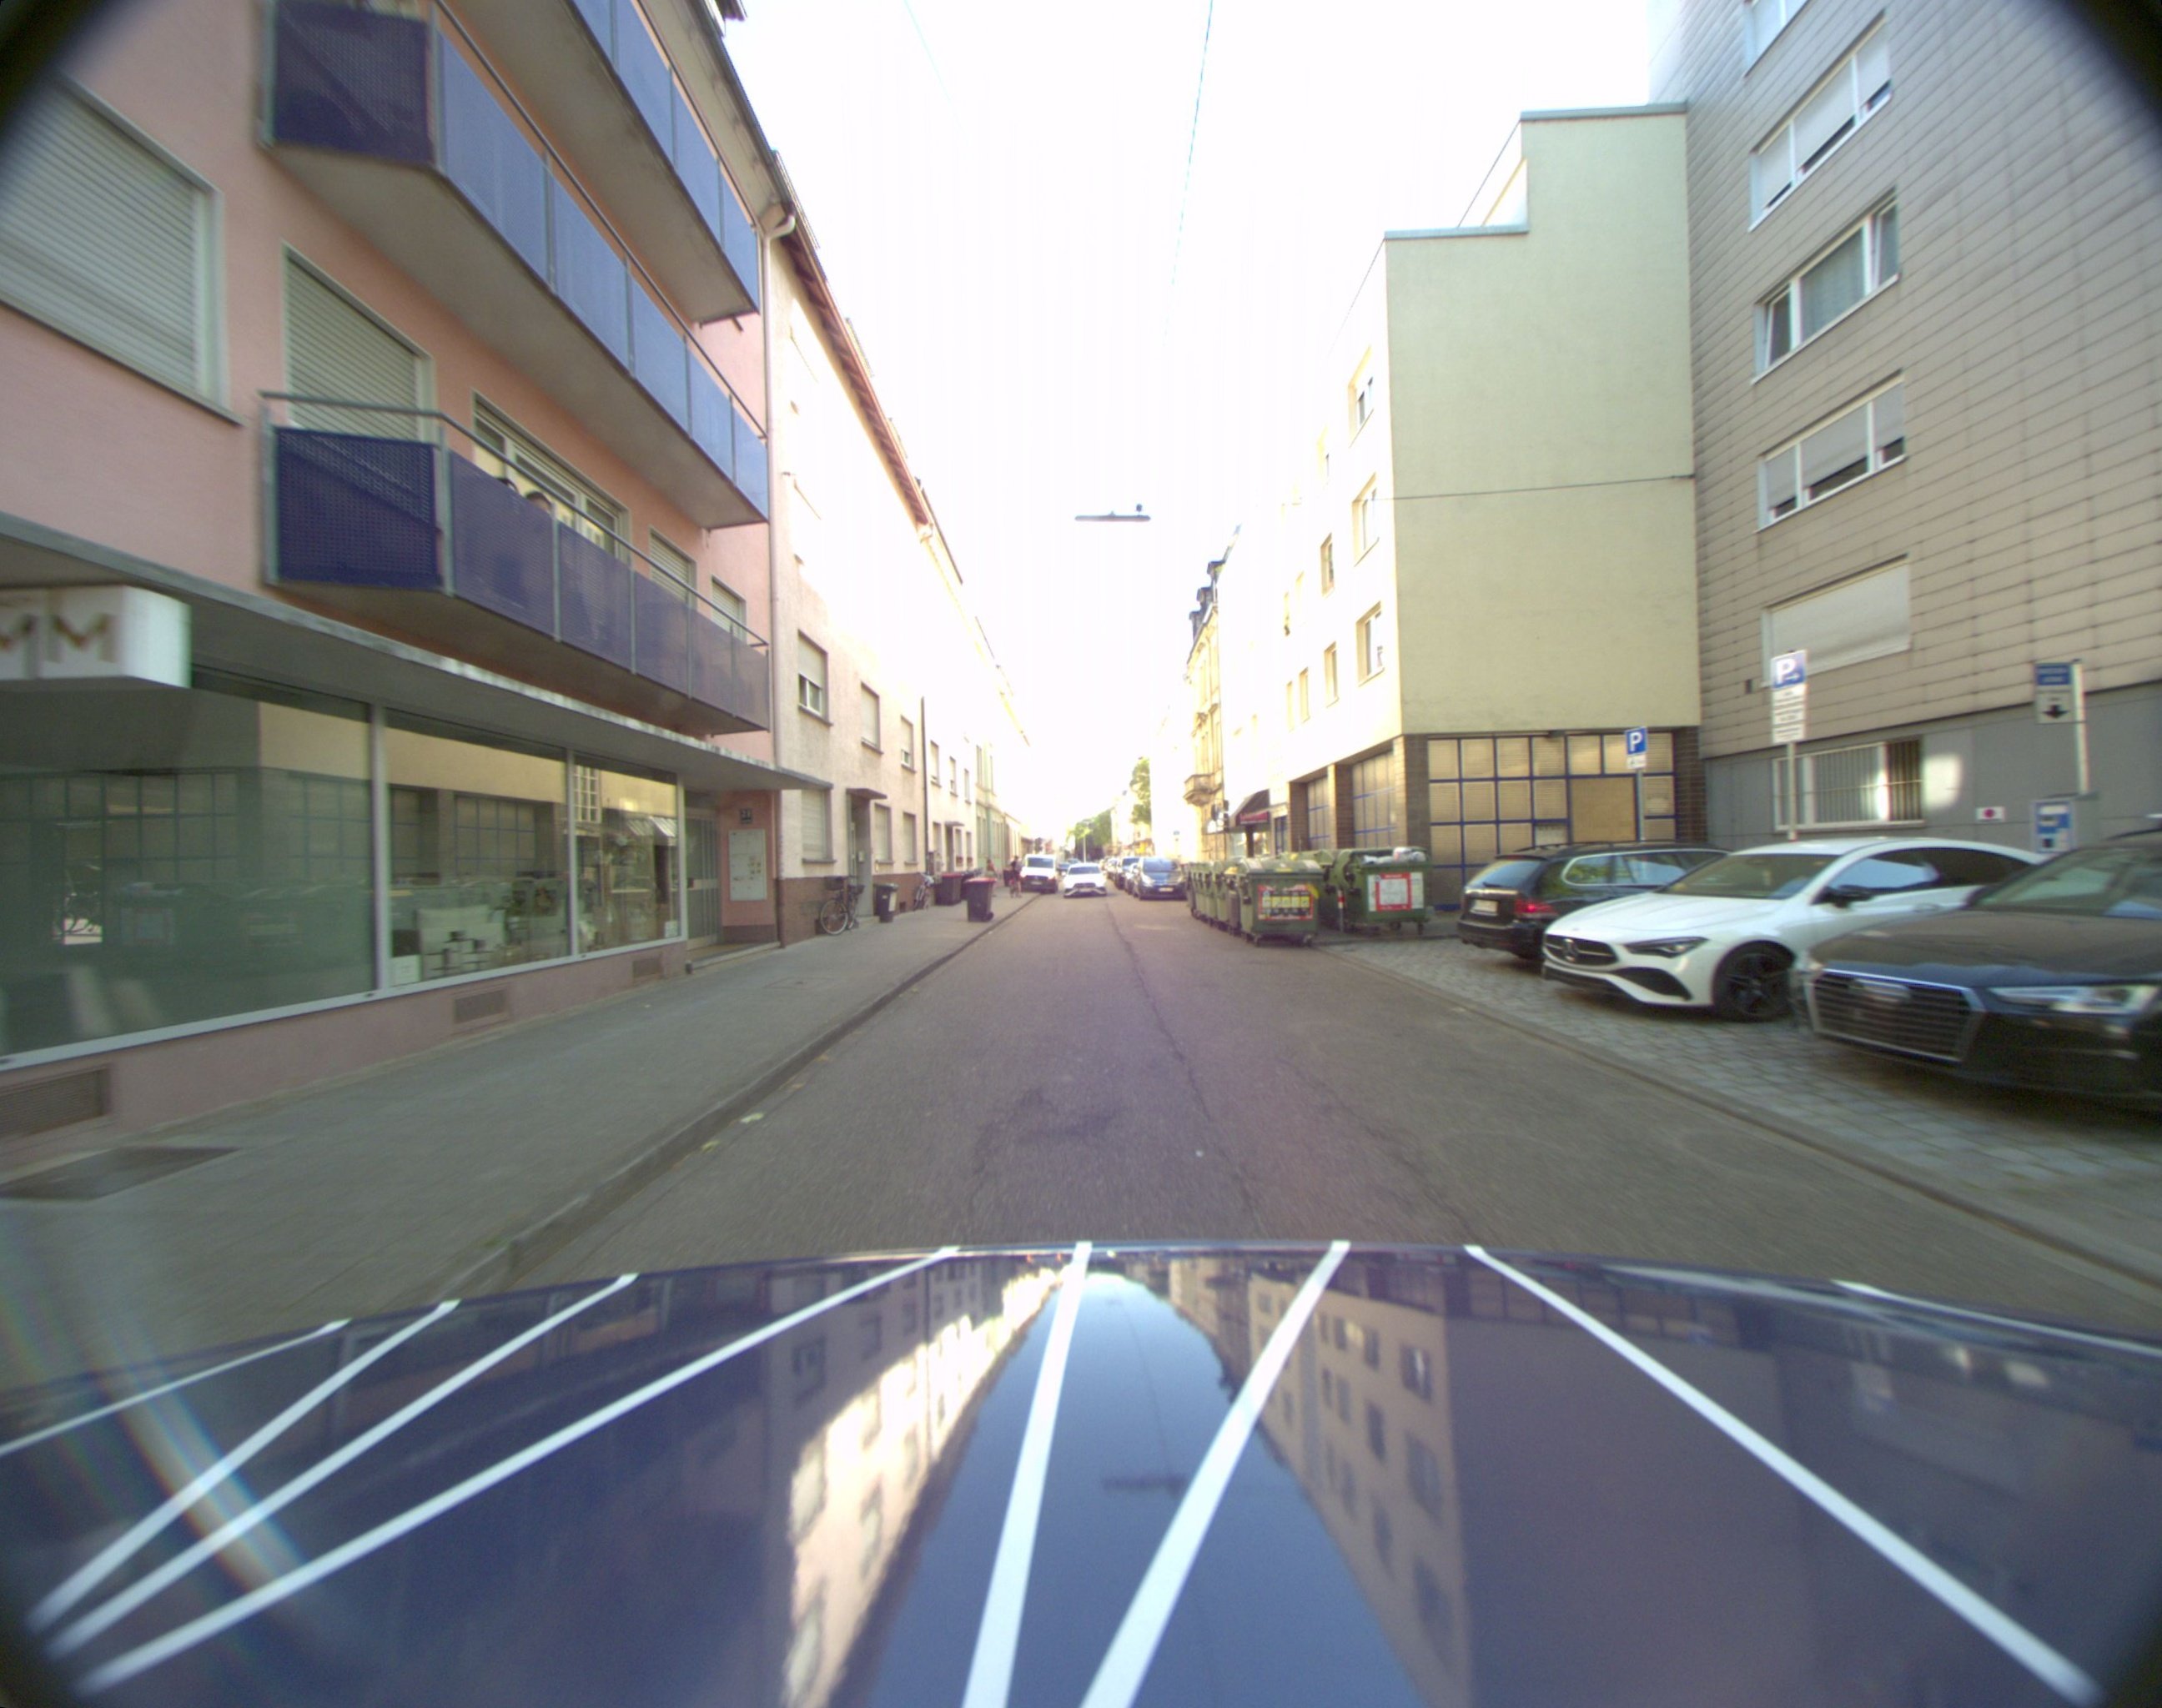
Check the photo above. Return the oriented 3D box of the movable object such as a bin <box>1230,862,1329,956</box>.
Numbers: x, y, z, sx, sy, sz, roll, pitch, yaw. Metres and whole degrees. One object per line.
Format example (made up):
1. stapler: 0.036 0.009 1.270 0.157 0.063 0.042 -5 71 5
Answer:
1. movable object such as a bin: 3.313 0.894 12.838 1.304 1.442 1.117 -2 1 -3

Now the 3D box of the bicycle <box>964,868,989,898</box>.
1. bicycle: -4.318 1.196 31.408 0.570 1.147 1.868 -1 1 5

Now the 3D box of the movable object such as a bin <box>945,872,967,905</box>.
1. movable object such as a bin: -4.387 1.202 26.743 0.629 1.116 0.569 -1 1 2

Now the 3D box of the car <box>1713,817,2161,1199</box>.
1. car: 6.687 0.603 4.395 4.477 1.600 1.915 -3 1 -2

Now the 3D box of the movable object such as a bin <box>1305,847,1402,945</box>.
1. movable object such as a bin: 4.902 0.725 13.753 1.231 1.643 1.173 -2 1 -5

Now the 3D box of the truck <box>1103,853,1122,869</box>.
1. truck: 4.760 1.001 115.702 2.171 2.295 6.345 0 0 -5

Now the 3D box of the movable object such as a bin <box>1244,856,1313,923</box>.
1. movable object such as a bin: 4.690 0.819 18.170 1.309 1.490 1.157 -2 1 0

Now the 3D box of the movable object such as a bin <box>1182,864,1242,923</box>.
1. movable object such as a bin: 3.310 0.980 19.353 1.322 1.442 1.187 0 1 0

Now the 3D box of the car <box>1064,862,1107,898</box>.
1. car: 0.221 1.090 33.366 1.761 1.399 4.022 -1 0 1

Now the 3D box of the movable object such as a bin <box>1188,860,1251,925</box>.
1. movable object such as a bin: 3.292 0.898 18.177 1.337 1.476 1.093 0 1 0

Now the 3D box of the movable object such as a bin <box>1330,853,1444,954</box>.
1. movable object such as a bin: 5.031 0.779 12.594 1.356 1.540 1.120 -2 1 -5

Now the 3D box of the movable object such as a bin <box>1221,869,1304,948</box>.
1. movable object such as a bin: 3.299 0.978 13.938 1.244 1.314 1.045 -2 1 0

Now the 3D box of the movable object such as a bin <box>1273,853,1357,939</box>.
1. movable object such as a bin: 4.593 0.801 15.027 1.292 1.595 1.082 -2 1 0

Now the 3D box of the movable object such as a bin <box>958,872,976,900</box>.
1. movable object such as a bin: -4.417 1.237 29.532 0.617 1.056 0.603 0 0 0

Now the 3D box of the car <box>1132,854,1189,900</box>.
1. car: 3.010 0.836 29.595 1.787 1.657 4.670 0 0 1

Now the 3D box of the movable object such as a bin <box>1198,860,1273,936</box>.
1. movable object such as a bin: 3.255 0.906 16.098 1.346 1.490 1.018 -2 1 0

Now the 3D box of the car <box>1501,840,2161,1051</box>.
1. car: 6.566 0.709 6.927 4.353 1.417 1.957 -3 1 0

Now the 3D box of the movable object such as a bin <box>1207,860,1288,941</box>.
1. movable object such as a bin: 3.261 0.897 15.029 1.337 1.482 1.082 -2 1 0

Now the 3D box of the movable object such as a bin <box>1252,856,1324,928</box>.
1. movable object such as a bin: 4.627 0.829 17.094 1.305 1.514 1.018 -2 1 0

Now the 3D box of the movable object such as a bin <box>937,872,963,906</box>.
1. movable object such as a bin: -4.400 1.179 25.586 0.740 1.091 0.640 1 1 2

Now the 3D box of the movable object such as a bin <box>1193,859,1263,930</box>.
1. movable object such as a bin: 3.286 0.895 17.133 1.352 1.478 1.003 -2 1 0

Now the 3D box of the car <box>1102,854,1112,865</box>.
1. car: 5.233 1.145 153.596 1.913 2.076 4.697 -1 0 1

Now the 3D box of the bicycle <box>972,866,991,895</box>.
1. bicycle: -4.423 1.172 33.834 0.406 1.199 2.160 -1 1 4

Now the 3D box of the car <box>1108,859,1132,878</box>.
1. car: 3.160 1.136 62.719 1.718 1.479 4.852 1 0 0

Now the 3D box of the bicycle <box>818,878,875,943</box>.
1. bicycle: -4.647 1.087 15.175 0.454 1.127 1.920 1 0 2

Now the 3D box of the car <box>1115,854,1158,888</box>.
1. car: 2.912 0.863 40.777 1.941 1.726 5.142 -1 0 1

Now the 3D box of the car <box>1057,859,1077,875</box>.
1. car: -1.390 1.317 77.917 1.805 1.569 4.897 -2 0 1

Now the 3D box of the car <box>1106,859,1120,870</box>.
1. car: 4.380 1.405 104.338 1.669 1.514 4.489 0 -1 0

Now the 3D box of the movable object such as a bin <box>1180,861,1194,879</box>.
1. movable object such as a bin: 6.517 0.979 46.710 0.721 1.125 0.584 -1 1 -3

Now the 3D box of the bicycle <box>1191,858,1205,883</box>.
1. bicycle: 6.258 0.850 40.715 0.512 1.269 1.867 -1 1 2

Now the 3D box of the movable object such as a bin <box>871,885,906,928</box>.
1. movable object such as a bin: -4.525 1.222 17.915 0.599 0.946 0.682 -1 1 2

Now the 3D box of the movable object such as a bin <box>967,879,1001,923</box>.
1. movable object such as a bin: -2.484 1.195 19.572 0.734 1.074 0.703 -1 1 2

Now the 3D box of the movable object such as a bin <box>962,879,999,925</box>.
1. movable object such as a bin: -2.485 1.171 18.858 0.770 1.080 0.693 -1 1 2

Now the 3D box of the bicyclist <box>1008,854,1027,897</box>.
1. bicyclist: -2.681 0.903 32.190 0.762 1.760 0.822 1 -1 -1

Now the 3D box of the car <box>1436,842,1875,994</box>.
1. car: 6.656 0.685 9.141 3.885 1.496 1.826 -2 1 0

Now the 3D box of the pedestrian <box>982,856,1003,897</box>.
1. pedestrian: -3.759 0.939 32.432 0.656 1.701 0.687 -1 1 13

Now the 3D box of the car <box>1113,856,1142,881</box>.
1. car: 3.102 0.946 51.062 1.619 1.544 3.978 -1 0 0

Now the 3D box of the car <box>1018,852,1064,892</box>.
1. car: -2.013 0.912 39.597 1.988 1.872 5.600 2 0 0

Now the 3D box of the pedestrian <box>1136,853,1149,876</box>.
1. pedestrian: 4.955 0.867 61.296 0.913 1.822 1.245 -1 1 1

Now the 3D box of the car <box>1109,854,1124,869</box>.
1. car: 4.556 0.995 98.334 1.771 1.887 4.809 0 0 -1

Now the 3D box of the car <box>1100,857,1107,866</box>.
1. car: 5.171 1.624 173.297 1.585 1.971 4.068 -1 1 1

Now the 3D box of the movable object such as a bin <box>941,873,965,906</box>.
1. movable object such as a bin: -4.406 1.231 26.182 0.658 1.098 0.593 -1 0 2

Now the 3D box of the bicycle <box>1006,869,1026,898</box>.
1. bicycle: -2.709 1.223 31.887 0.665 1.130 1.988 1 -1 -1

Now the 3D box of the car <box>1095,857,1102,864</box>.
1. car: 4.751 1.795 202.950 1.786 1.674 4.022 -1 1 1

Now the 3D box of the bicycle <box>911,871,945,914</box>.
1. bicycle: -4.576 1.124 22.794 0.538 1.163 2.076 3 0 0

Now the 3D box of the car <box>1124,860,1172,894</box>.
1. car: 2.995 1.010 34.977 1.850 1.409 4.817 0 0 1

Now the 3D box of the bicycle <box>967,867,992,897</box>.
1. bicycle: -4.318 1.179 32.497 0.438 1.199 2.267 -1 1 8

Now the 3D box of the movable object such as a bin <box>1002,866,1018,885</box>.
1. movable object such as a bin: -4.172 1.278 44.662 0.814 1.082 0.674 -1 1 3

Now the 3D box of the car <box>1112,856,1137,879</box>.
1. car: 3.225 1.003 56.858 1.748 1.605 4.604 0 -1 1

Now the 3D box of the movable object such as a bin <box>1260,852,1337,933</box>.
1. movable object such as a bin: 4.588 0.786 16.091 1.297 1.611 1.018 -2 1 0

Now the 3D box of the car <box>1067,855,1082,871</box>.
1. car: -0.857 1.241 102.868 1.975 2.017 4.899 -3 0 0

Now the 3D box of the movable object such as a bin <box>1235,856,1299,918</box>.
1. movable object such as a bin: 4.711 0.812 19.328 1.299 1.489 1.178 -2 1 0
